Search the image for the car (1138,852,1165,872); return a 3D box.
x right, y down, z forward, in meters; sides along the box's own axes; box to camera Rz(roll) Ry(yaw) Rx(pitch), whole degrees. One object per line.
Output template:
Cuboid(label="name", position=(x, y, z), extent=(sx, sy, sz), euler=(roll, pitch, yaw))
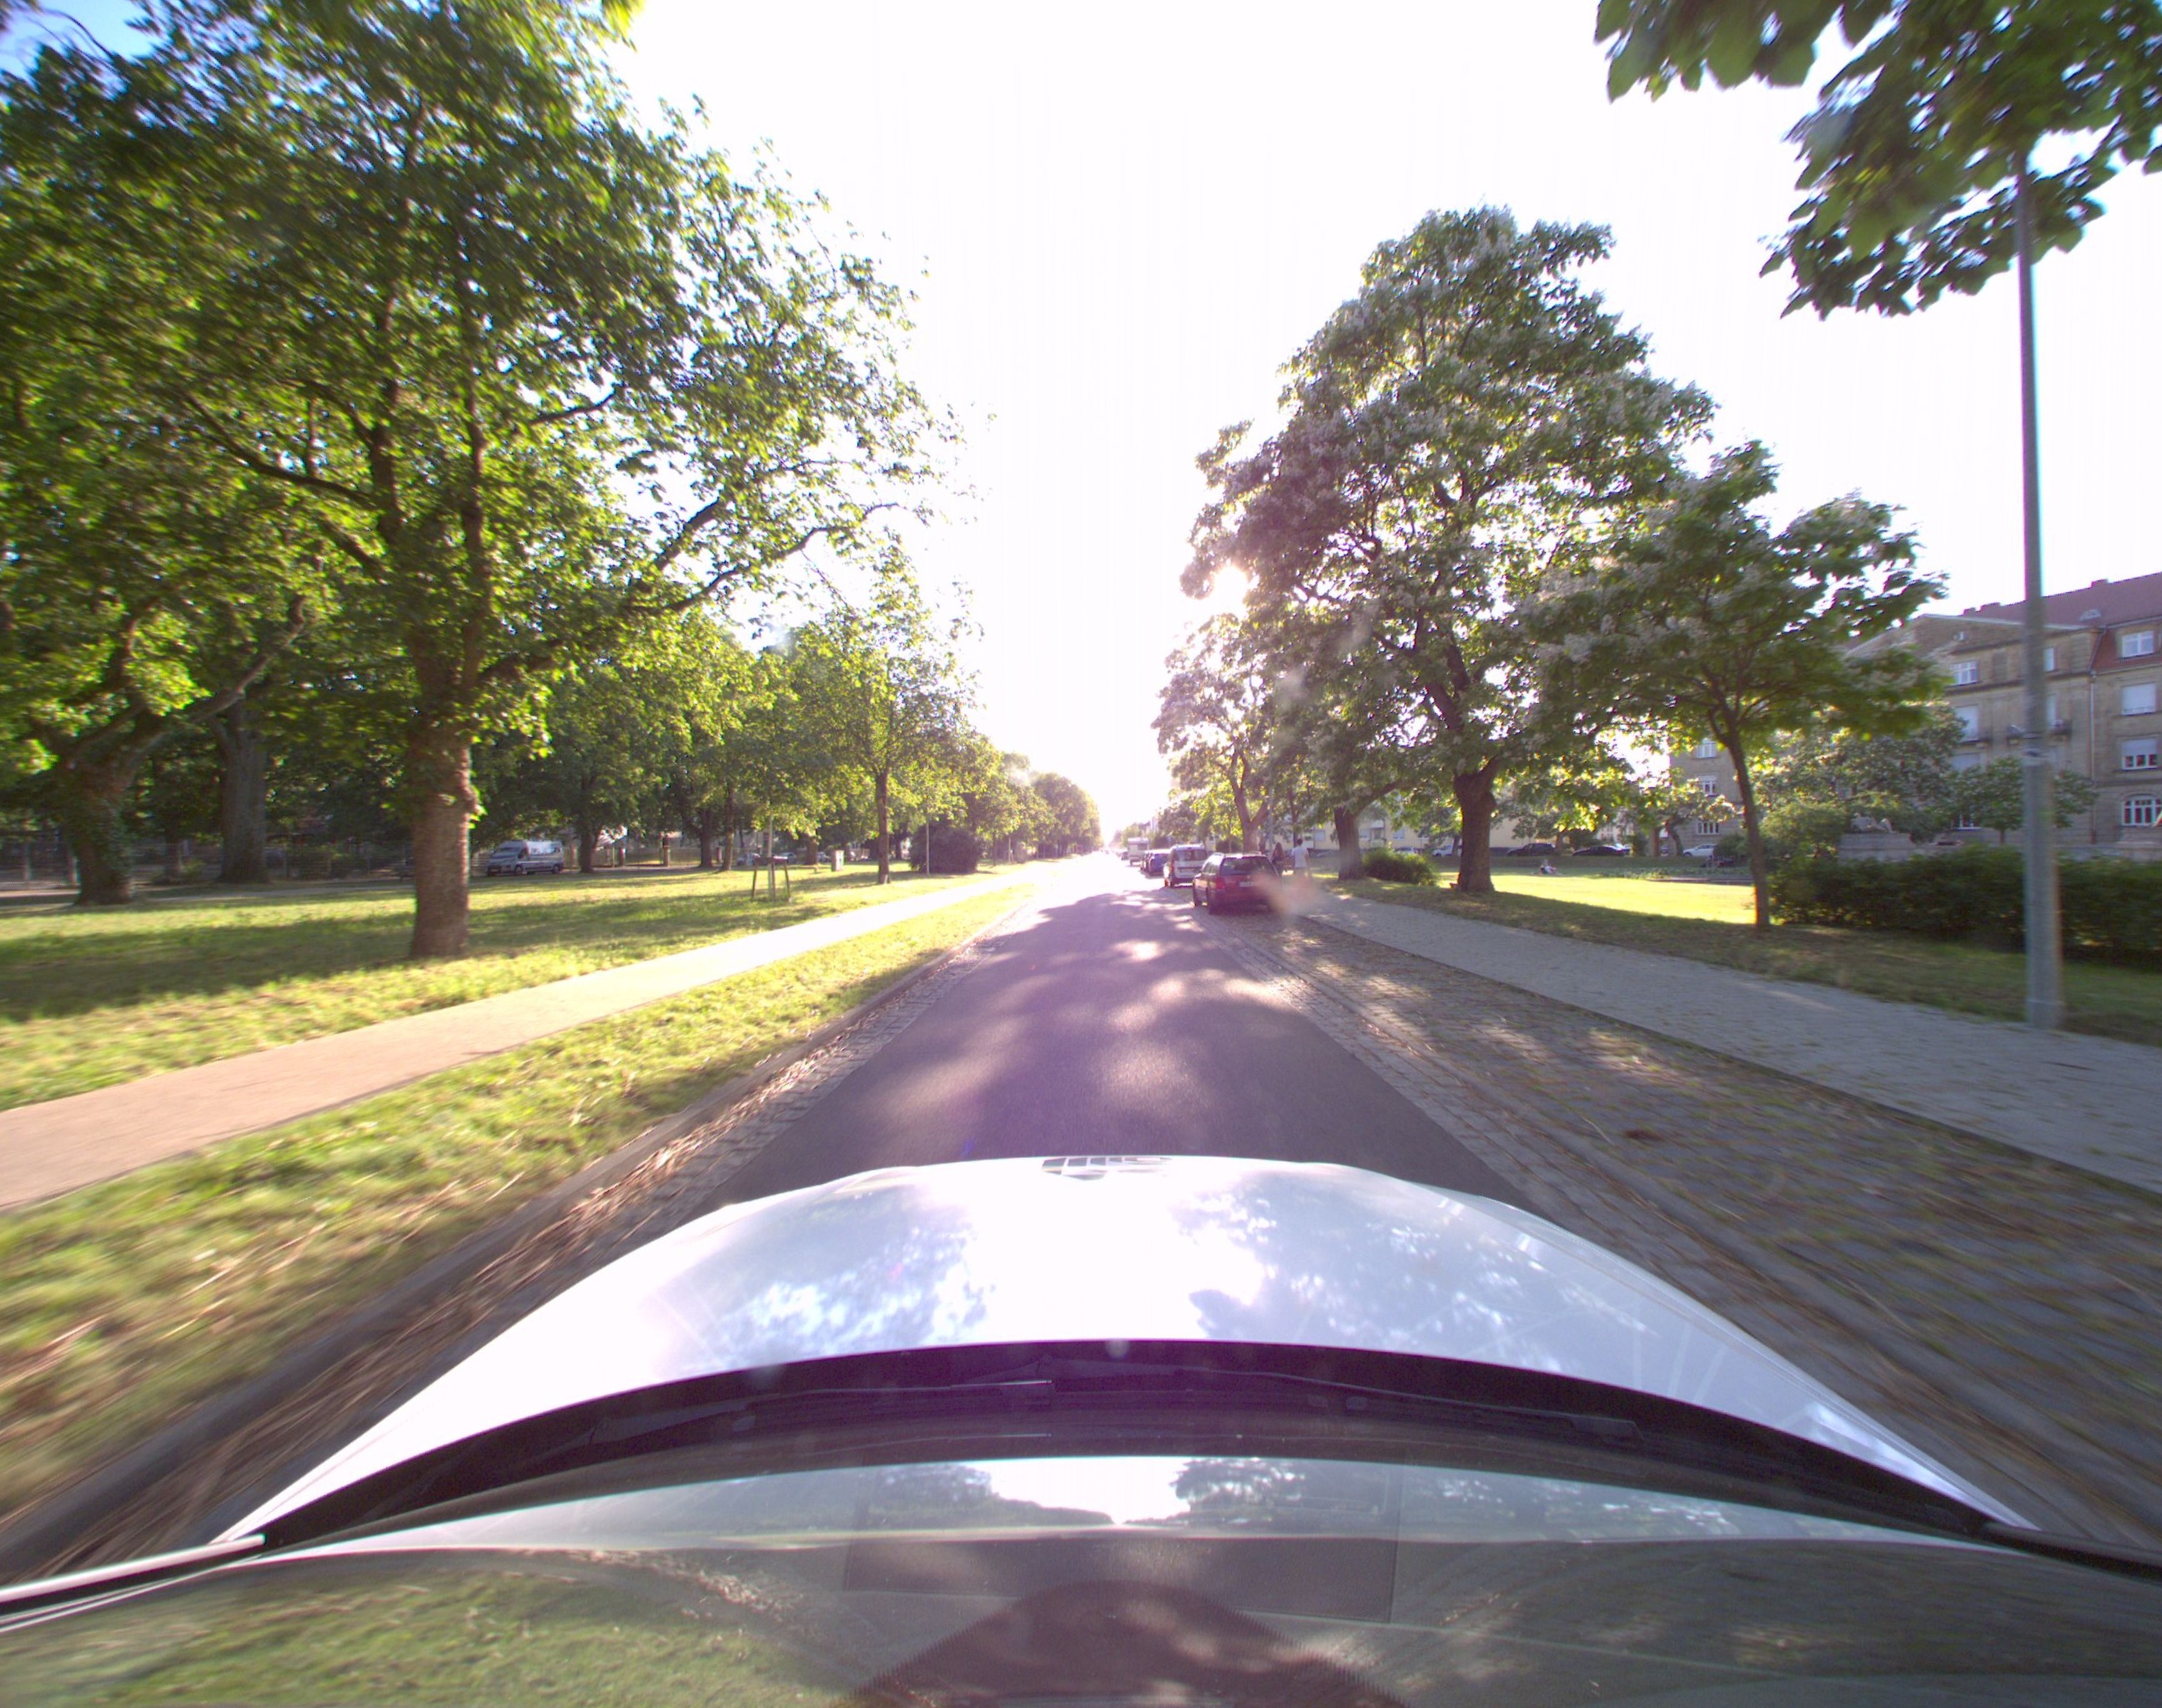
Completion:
Cuboid(label="car", position=(5.462, 0.632, 63.606), extent=(1.622, 1.464, 4.247), euler=(-1, 0, -1))

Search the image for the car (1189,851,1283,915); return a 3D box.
Cuboid(label="car", position=(3.969, 0.698, 21.541), extent=(1.672, 1.486, 4.811), euler=(-1, 0, 1))

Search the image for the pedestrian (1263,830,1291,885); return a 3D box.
Cuboid(label="pedestrian", position=(6.293, 0.119, 26.229), extent=(0.750, 1.736, 0.732), euler=(0, 0, 2))

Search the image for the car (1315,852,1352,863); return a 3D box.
Cuboid(label="car", position=(31.082, 0.448, 100.277), extent=(4.158, 1.357, 1.702), euler=(-1, -1, 22))

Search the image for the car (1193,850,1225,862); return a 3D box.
Cuboid(label="car", position=(17.240, 0.294, 109.959), extent=(4.174, 1.530, 2.003), euler=(-1, -1, 5))

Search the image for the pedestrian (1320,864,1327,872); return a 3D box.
Cuboid(label="pedestrian", position=(23.695, 1.366, 79.557), extent=(0.470, 0.812, 0.612), euler=(0, 0, 3))

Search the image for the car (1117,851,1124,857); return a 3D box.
Cuboid(label="car", position=(9.408, -0.037, 194.488), extent=(1.620, 1.410, 4.250), euler=(-1, 0, 1))

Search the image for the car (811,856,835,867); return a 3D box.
Cuboid(label="car", position=(-37.023, 1.006, 117.114), extent=(1.985, 1.508, 4.118), euler=(-1, 0, 3))

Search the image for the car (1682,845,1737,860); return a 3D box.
Cuboid(label="car", position=(62.845, -0.143, 81.496), extent=(1.886, 1.453, 3.962), euler=(-1, -1, -29))

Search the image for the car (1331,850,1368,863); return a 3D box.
Cuboid(label="car", position=(34.809, 0.297, 105.448), extent=(4.473, 1.569, 1.890), euler=(-1, -1, 20))

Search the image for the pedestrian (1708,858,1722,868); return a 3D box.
Cuboid(label="pedestrian", position=(52.025, 0.734, 66.823), extent=(0.585, 0.794, 0.665), euler=(-1, -1, -9))

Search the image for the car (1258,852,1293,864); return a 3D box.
Cuboid(label="car", position=(24.472, 0.485, 102.331), extent=(4.162, 1.463, 1.700), euler=(-1, -1, 17))

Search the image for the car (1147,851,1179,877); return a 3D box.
Cuboid(label="car", position=(5.085, 0.603, 50.770), extent=(1.724, 1.551, 4.278), euler=(-1, 0, 3))

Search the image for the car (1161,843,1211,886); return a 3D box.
Cuboid(label="car", position=(4.501, 0.450, 35.353), extent=(1.672, 1.740, 4.515), euler=(-1, 0, 1))

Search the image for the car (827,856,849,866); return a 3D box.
Cuboid(label="car", position=(-37.593, 1.057, 126.330), extent=(1.985, 1.508, 4.118), euler=(-1, 0, 3))

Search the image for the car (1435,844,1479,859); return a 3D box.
Cuboid(label="car", position=(45.758, -0.333, 99.111), extent=(4.467, 1.746, 1.892), euler=(-1, -1, 37))

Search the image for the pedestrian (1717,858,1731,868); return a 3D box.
Cuboid(label="pedestrian", position=(52.143, 0.747, 66.077), extent=(0.585, 0.794, 0.665), euler=(-1, -1, -9))

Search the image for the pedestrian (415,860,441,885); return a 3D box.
Cuboid(label="pedestrian", position=(-26.789, 0.749, 33.417), extent=(0.544, 0.987, 0.612), euler=(-1, -1, 12))

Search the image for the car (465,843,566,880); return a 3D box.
Cuboid(label="car", position=(-40.140, 0.519, 58.119), extent=(2.711, 2.463, 6.318), euler=(-1, 0, 1))

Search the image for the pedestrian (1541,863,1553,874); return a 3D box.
Cuboid(label="pedestrian", position=(35.038, 1.086, 61.175), extent=(0.671, 0.794, 0.580), euler=(-1, -1, -41))

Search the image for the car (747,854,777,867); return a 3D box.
Cuboid(label="car", position=(-38.839, 0.784, 99.200), extent=(1.985, 1.508, 4.003), euler=(-1, 0, 3))

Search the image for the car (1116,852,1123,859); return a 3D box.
Cuboid(label="car", position=(8.674, 0.317, 183.311), extent=(1.620, 1.410, 4.250), euler=(-1, 0, 1))

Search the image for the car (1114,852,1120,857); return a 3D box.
Cuboid(label="car", position=(10.291, 0.053, 230.907), extent=(1.620, 1.410, 4.250), euler=(-1, 0, 1))

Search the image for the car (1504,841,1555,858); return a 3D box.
Cuboid(label="car", position=(48.788, -0.462, 88.656), extent=(1.891, 1.746, 4.470), euler=(-1, -1, -45))

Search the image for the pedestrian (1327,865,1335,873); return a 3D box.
Cuboid(label="pedestrian", position=(24.626, 1.465, 80.285), extent=(0.608, 0.812, 0.725), euler=(0, 0, 3))

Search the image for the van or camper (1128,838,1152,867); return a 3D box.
Cuboid(label="van or camper", position=(6.361, -0.131, 88.198), extent=(2.226, 2.904, 5.674), euler=(-1, -1, 1))

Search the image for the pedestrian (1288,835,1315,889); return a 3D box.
Cuboid(label="pedestrian", position=(7.092, 0.249, 26.223), extent=(0.722, 1.736, 0.732), euler=(0, 0, 2))

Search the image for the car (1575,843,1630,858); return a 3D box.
Cuboid(label="car", position=(53.682, -0.365, 83.881), extent=(1.889, 1.453, 4.319), euler=(-1, -1, -36))

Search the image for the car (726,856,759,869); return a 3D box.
Cuboid(label="car", position=(-39.165, 0.966, 94.239), extent=(1.985, 1.508, 4.003), euler=(-1, 0, 3))

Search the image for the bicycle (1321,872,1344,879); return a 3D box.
Cuboid(label="bicycle", position=(23.930, 2.002, 77.454), extent=(1.749, 0.615, 1.823), euler=(-1, 0, 26))

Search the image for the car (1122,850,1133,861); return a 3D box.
Cuboid(label="car", position=(7.407, 0.250, 129.620), extent=(1.620, 1.669, 4.250), euler=(-1, 0, 1))

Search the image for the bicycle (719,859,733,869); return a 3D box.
Cuboid(label="bicycle", position=(-40.680, 1.149, 93.318), extent=(0.655, 1.175, 2.333), euler=(-1, 0, -1))

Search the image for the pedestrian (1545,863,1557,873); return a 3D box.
Cuboid(label="pedestrian", position=(35.629, 1.058, 61.746), extent=(0.671, 0.794, 0.580), euler=(-1, -1, -41))

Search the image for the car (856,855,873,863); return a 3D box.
Cuboid(label="car", position=(-37.666, 0.839, 141.646), extent=(1.747, 1.419, 4.003), euler=(-1, 0, 3))

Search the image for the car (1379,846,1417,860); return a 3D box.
Cuboid(label="car", position=(37.738, -0.139, 96.889), extent=(3.949, 1.552, 1.620), euler=(-1, -1, 29))

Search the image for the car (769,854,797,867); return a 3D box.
Cuboid(label="car", position=(-38.449, 0.845, 105.182), extent=(1.985, 1.508, 4.118), euler=(-1, 0, 3))

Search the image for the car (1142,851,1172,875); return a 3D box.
Cuboid(label="car", position=(5.260, 0.619, 57.022), extent=(1.726, 1.551, 4.422), euler=(-1, 0, 1))
